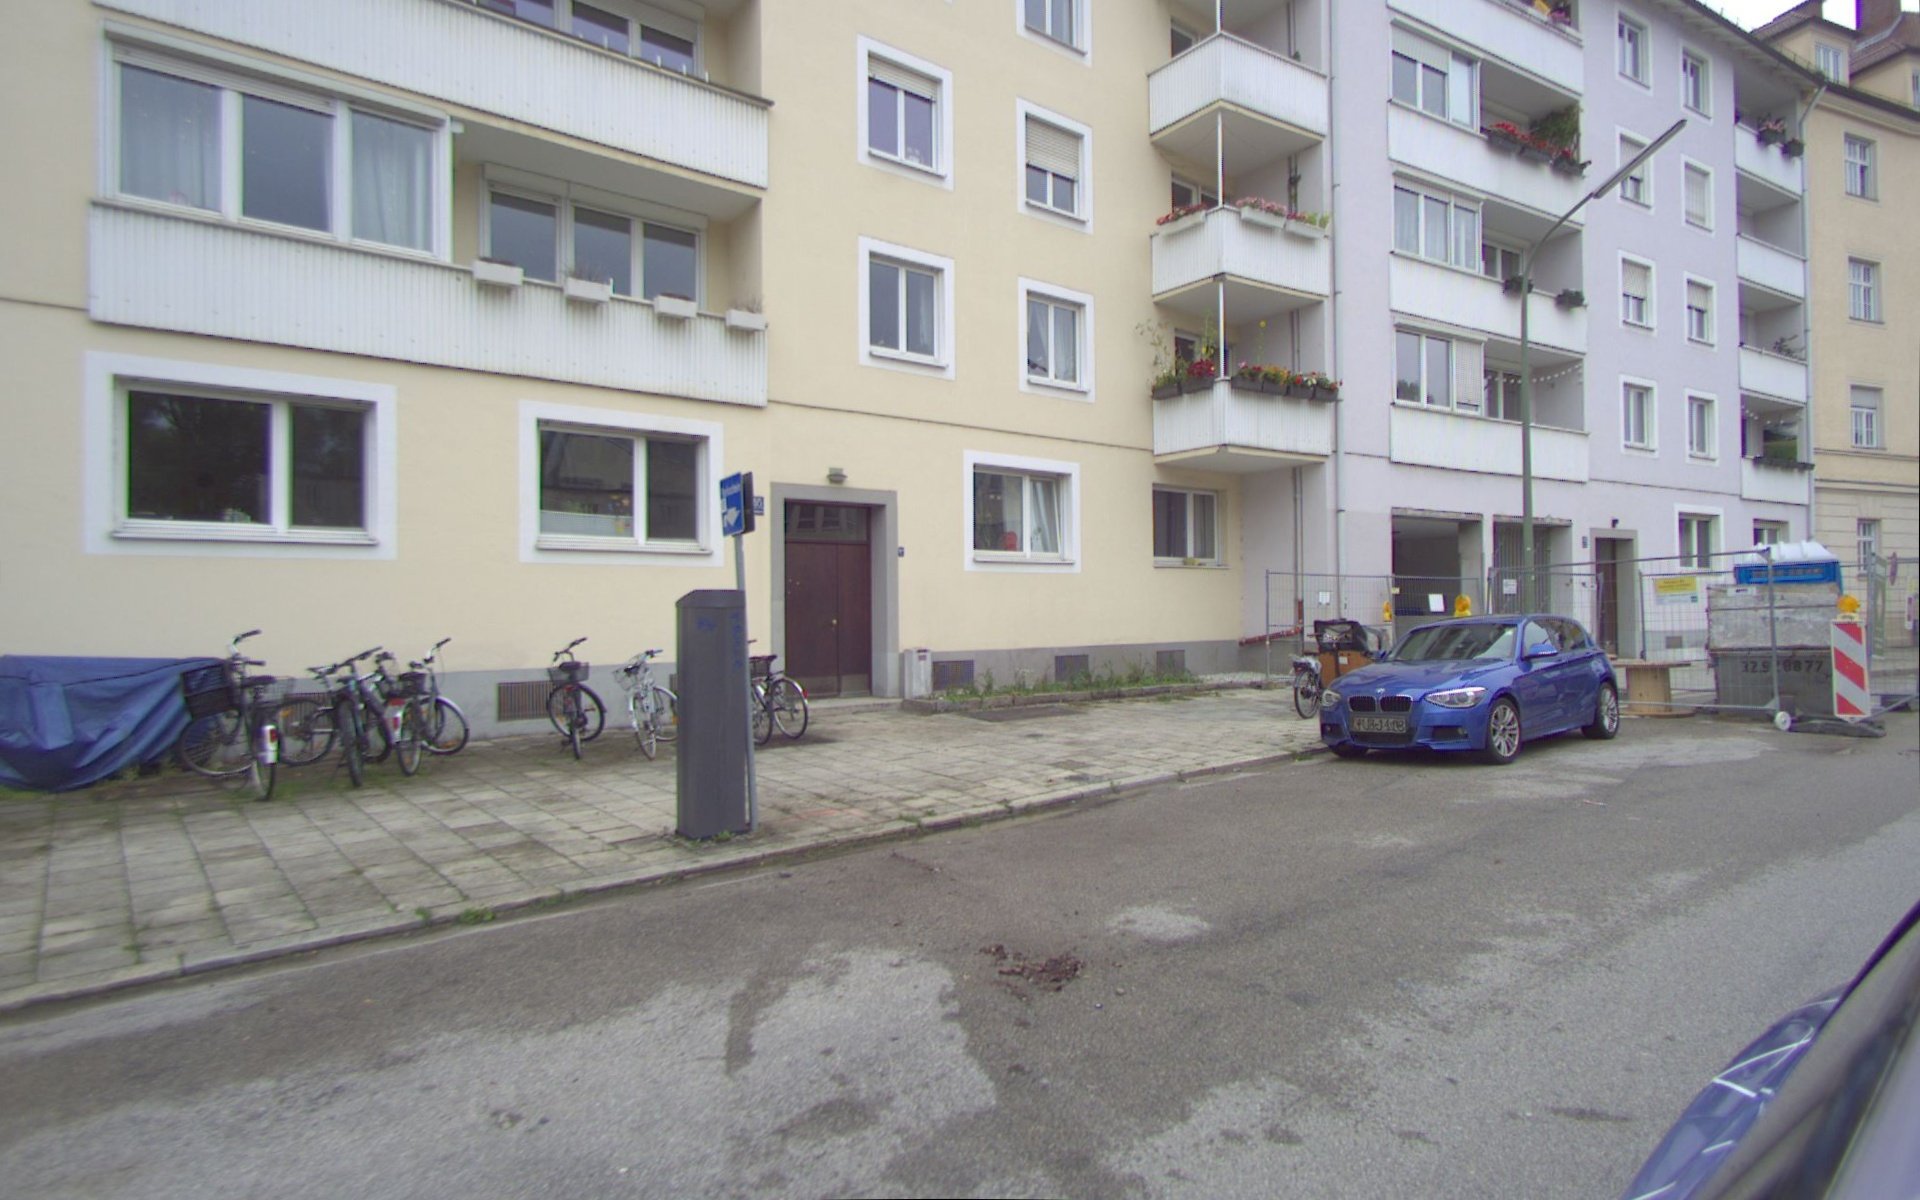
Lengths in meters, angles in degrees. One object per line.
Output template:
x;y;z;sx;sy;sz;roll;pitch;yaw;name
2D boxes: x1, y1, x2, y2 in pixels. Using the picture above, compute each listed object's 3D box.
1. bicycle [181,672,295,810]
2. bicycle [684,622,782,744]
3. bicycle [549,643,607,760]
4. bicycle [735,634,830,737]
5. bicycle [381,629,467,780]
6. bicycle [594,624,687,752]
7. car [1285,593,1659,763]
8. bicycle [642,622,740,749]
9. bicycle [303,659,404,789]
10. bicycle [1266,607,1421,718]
-5.827;1.093;8.137;1.467;0.868;0.438;3;2;42;bicycle
-2.579;0.883;11.373;0.424;1.237;1.704;1;0;-36;bicycle
-3.933;0.994;10.365;0.470;1.002;1.508;1;1;-23;bicycle
-2.083;0.951;11.731;0.361;1.049;1.704;1;0;-36;bicycle
-5.005;0.920;9.521;0.423;1.237;1.709;0;0;-18;bicycle
-3.451;0.891;10.853;0.424;1.237;1.704;1;0;-36;bicycle
5.625;0.717;10.872;4.545;1.461;1.834;0;-3;-39;car
-2.951;0.881;10.998;0.424;1.237;1.704;1;0;-36;bicycle
-5.411;1.058;9.105;0.423;0.954;1.709;0;0;-19;bicycle
5.349;0.801;14.000;2.727;1.339;0.811;-1;1;-41;bicycle
